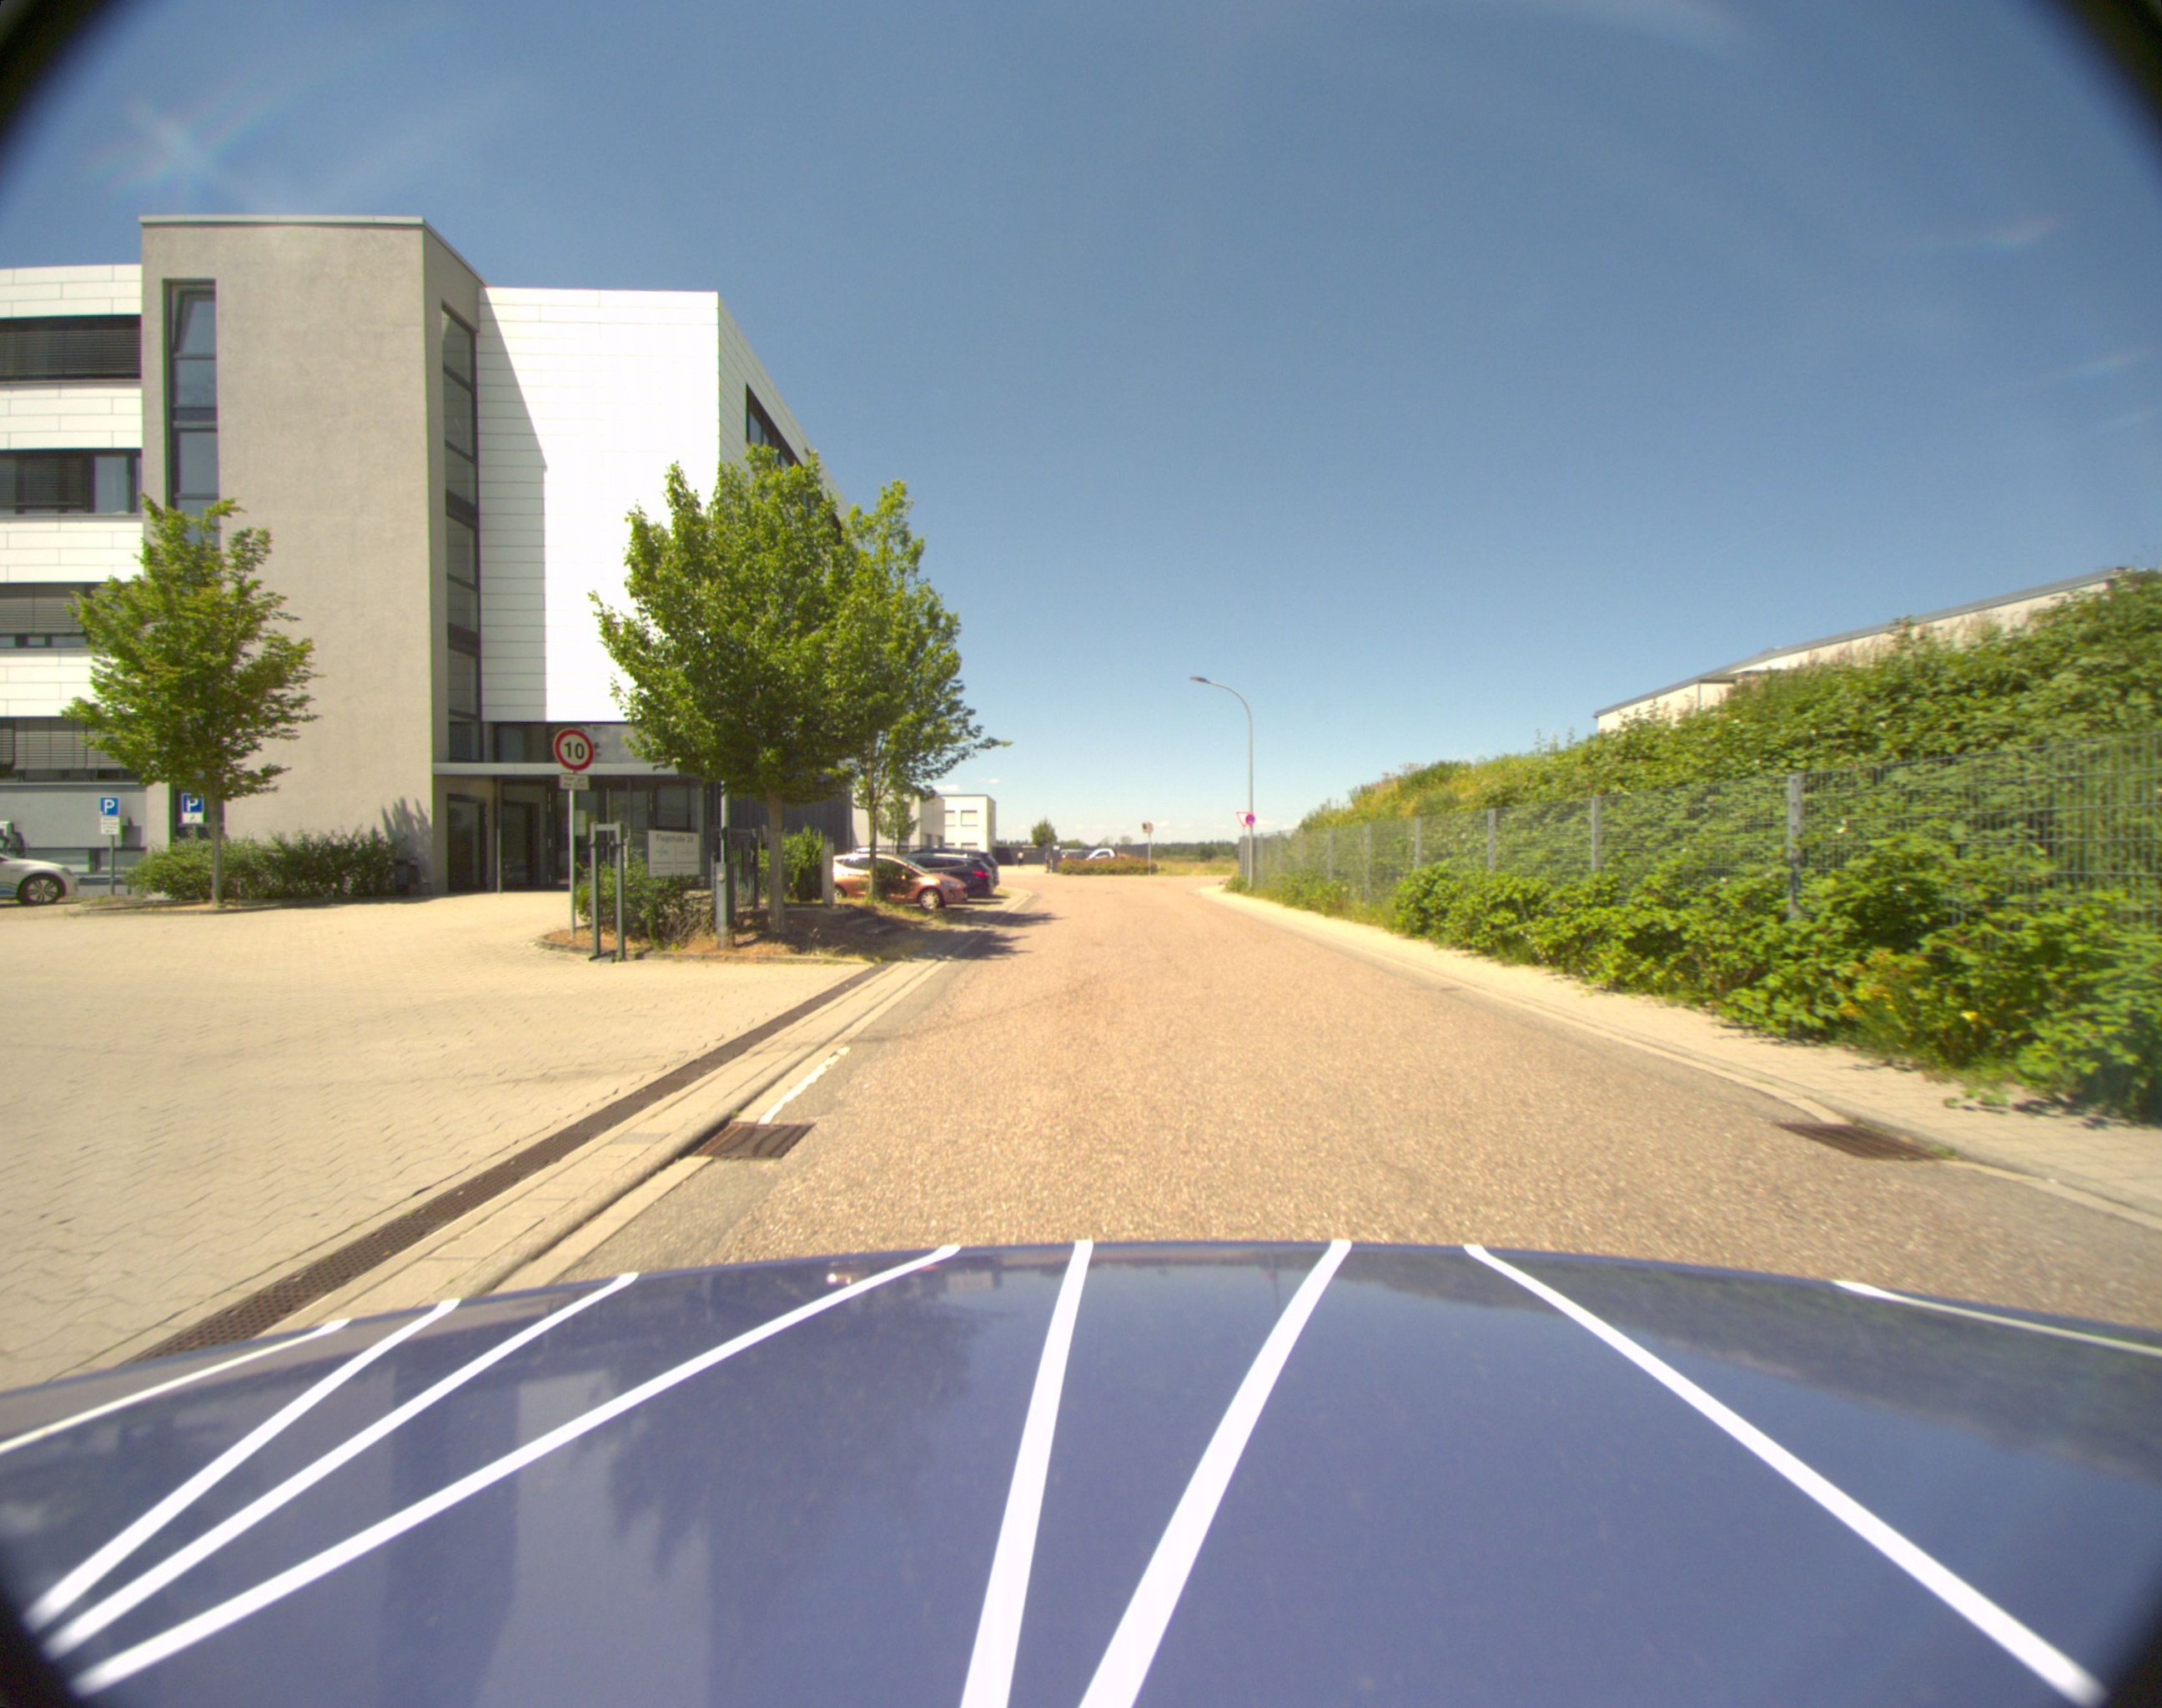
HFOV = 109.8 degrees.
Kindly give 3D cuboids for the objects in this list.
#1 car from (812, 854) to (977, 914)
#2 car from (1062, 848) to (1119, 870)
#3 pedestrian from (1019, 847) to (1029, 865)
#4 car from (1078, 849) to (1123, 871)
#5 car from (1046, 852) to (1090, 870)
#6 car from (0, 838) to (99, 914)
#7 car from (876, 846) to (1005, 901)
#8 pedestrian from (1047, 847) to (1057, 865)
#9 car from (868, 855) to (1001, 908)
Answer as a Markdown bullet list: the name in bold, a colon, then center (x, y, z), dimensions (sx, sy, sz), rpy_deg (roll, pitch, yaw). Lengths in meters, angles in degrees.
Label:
- **car**: center (-4.902, 0.770, 20.344), dimensions (3.998, 1.486, 1.724), rpy_deg (1, 0, -2)
- **car**: center (0.633, 0.384, 55.046), dimensions (3.998, 1.532, 1.830), rpy_deg (0, 0, -3)
- **pedestrian**: center (-5.237, 0.203, 69.922), dimensions (0.775, 1.619, 0.621), rpy_deg (0, 1, -15)
- **car**: center (1.338, 0.391, 52.994), dimensions (2.996, 1.511, 1.705), rpy_deg (0, 0, -3)
- **car**: center (-1.237, 0.626, 69.716), dimensions (3.998, 1.596, 1.676), rpy_deg (0, 0, -3)
- **car**: center (-21.846, 0.433, 14.045), dimensions (1.809, 1.452, 4.223), rpy_deg (1, 1, 3)
- **car**: center (-4.727, 0.632, 25.863), dimensions (3.996, 1.755, 1.725), rpy_deg (1, 0, 3)
- **pedestrian**: center (-2.618, 0.184, 68.525), dimensions (0.830, 1.673, 0.711), rpy_deg (0, 1, -9)
- **car**: center (-4.371, 0.797, 23.084), dimensions (3.721, 1.486, 1.782), rpy_deg (1, 0, -2)
